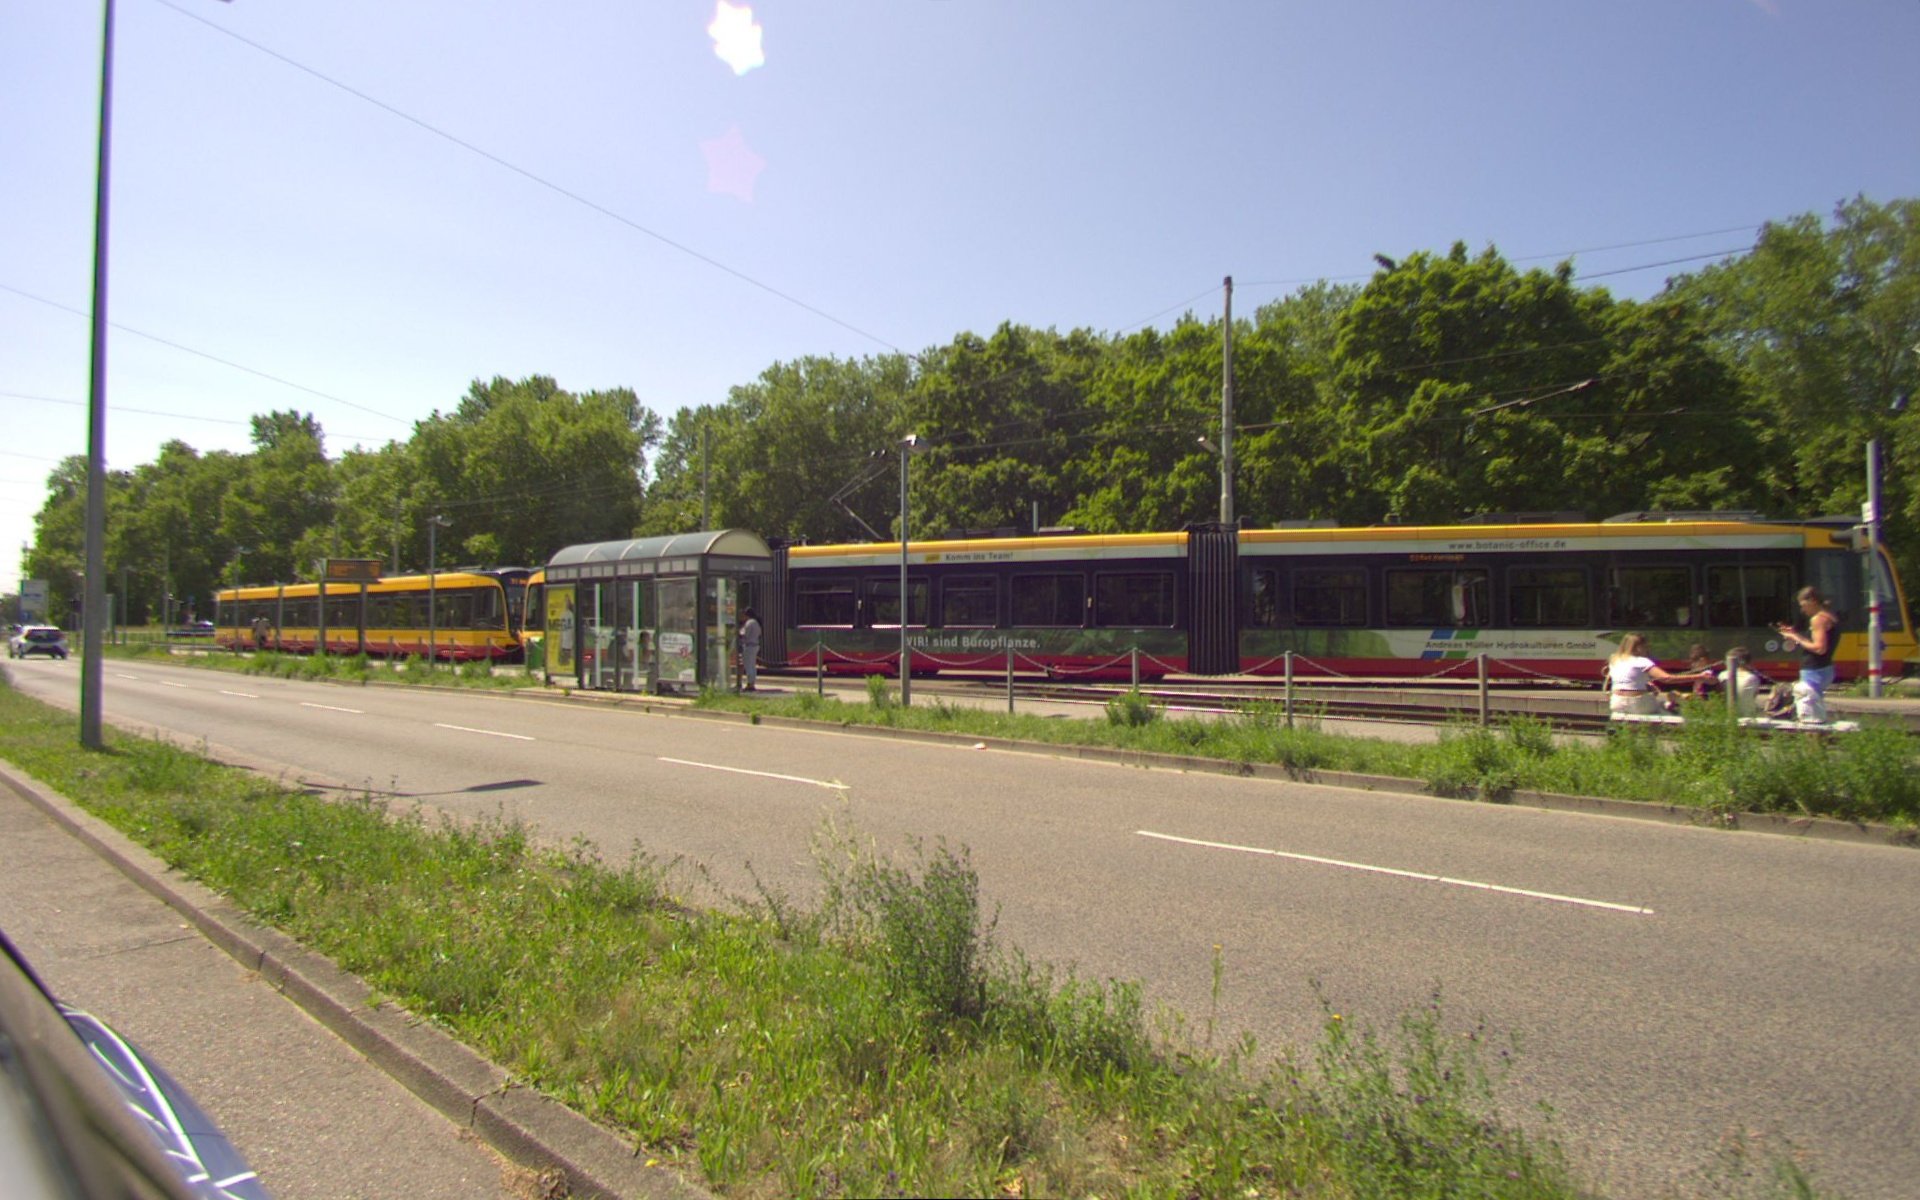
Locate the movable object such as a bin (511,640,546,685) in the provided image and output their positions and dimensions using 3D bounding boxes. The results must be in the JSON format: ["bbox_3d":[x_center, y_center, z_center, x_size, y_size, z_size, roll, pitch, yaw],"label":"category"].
[{"bbox_3d":[-9.862,1.415,23.117,0.644,0.985,0.477,-1,-2,36],"label":"movable object such as a bin"}]

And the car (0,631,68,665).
[{"bbox_3d":[-42.900,2.198,46.867,3.715,1.516,1.752,-2,-2,39],"label":"car"}]

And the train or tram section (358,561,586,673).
[{"bbox_3d":[-19.568,0.714,39.823,13.253,3.795,3.012,-2,-1,41],"label":"train or tram section"}]

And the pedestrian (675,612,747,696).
[{"bbox_3d":[-4.812,1.021,19.556,0.984,1.558,0.922,-2,-1,38],"label":"pedestrian"}]

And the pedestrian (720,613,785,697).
[{"bbox_3d":[-3.923,1.015,19.148,0.878,1.519,0.826,-2,-1,38],"label":"pedestrian"}]

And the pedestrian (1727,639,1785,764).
[{"bbox_3d":[7.137,0.895,9.082,0.377,1.066,0.379,-2,-1,38],"label":"pedestrian"}]

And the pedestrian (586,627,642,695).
[{"bbox_3d":[-6.902,1.198,20.210,0.839,1.293,0.694,-2,-1,38],"label":"pedestrian"}]

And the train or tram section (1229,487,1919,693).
[{"bbox_3d":[12.098,-0.071,21.029,12.326,3.652,3.041,-2,0,13],"label":"train or tram section"}]

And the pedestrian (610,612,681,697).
[{"bbox_3d":[-6.088,1.038,19.617,1.024,1.558,0.865,-2,-1,38],"label":"pedestrian"}]

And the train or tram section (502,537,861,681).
[{"bbox_3d":[-9.124,0.368,31.096,13.879,3.652,3.014,-2,-1,39],"label":"train or tram section"}]

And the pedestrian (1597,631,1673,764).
[{"bbox_3d":[6.434,0.904,9.643,0.536,1.198,0.575,-2,-1,39],"label":"pedestrian"}]

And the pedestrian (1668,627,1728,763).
[{"bbox_3d":[6.810,0.855,9.340,0.400,1.198,0.489,-2,-1,39],"label":"pedestrian"}]

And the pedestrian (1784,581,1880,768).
[{"bbox_3d":[7.645,0.630,8.896,0.582,1.577,0.529,-2,-1,39],"label":"pedestrian"}]

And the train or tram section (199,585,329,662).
[{"bbox_3d":[-38.554,1.312,55.843,11.531,3.884,2.920,-2,-1,40],"label":"train or tram section"}]

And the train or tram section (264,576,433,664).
[{"bbox_3d":[-29.345,0.978,48.170,12.585,3.770,3.013,-2,-1,40],"label":"train or tram section"}]

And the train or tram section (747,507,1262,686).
[{"bbox_3d":[0.721,0.082,24.739,12.385,3.652,3.027,-2,-1,26],"label":"train or tram section"}]

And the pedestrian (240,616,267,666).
[{"bbox_3d":[-26.098,1.523,37.384,0.775,1.804,0.626,-2,-1,39],"label":"pedestrian"}]
